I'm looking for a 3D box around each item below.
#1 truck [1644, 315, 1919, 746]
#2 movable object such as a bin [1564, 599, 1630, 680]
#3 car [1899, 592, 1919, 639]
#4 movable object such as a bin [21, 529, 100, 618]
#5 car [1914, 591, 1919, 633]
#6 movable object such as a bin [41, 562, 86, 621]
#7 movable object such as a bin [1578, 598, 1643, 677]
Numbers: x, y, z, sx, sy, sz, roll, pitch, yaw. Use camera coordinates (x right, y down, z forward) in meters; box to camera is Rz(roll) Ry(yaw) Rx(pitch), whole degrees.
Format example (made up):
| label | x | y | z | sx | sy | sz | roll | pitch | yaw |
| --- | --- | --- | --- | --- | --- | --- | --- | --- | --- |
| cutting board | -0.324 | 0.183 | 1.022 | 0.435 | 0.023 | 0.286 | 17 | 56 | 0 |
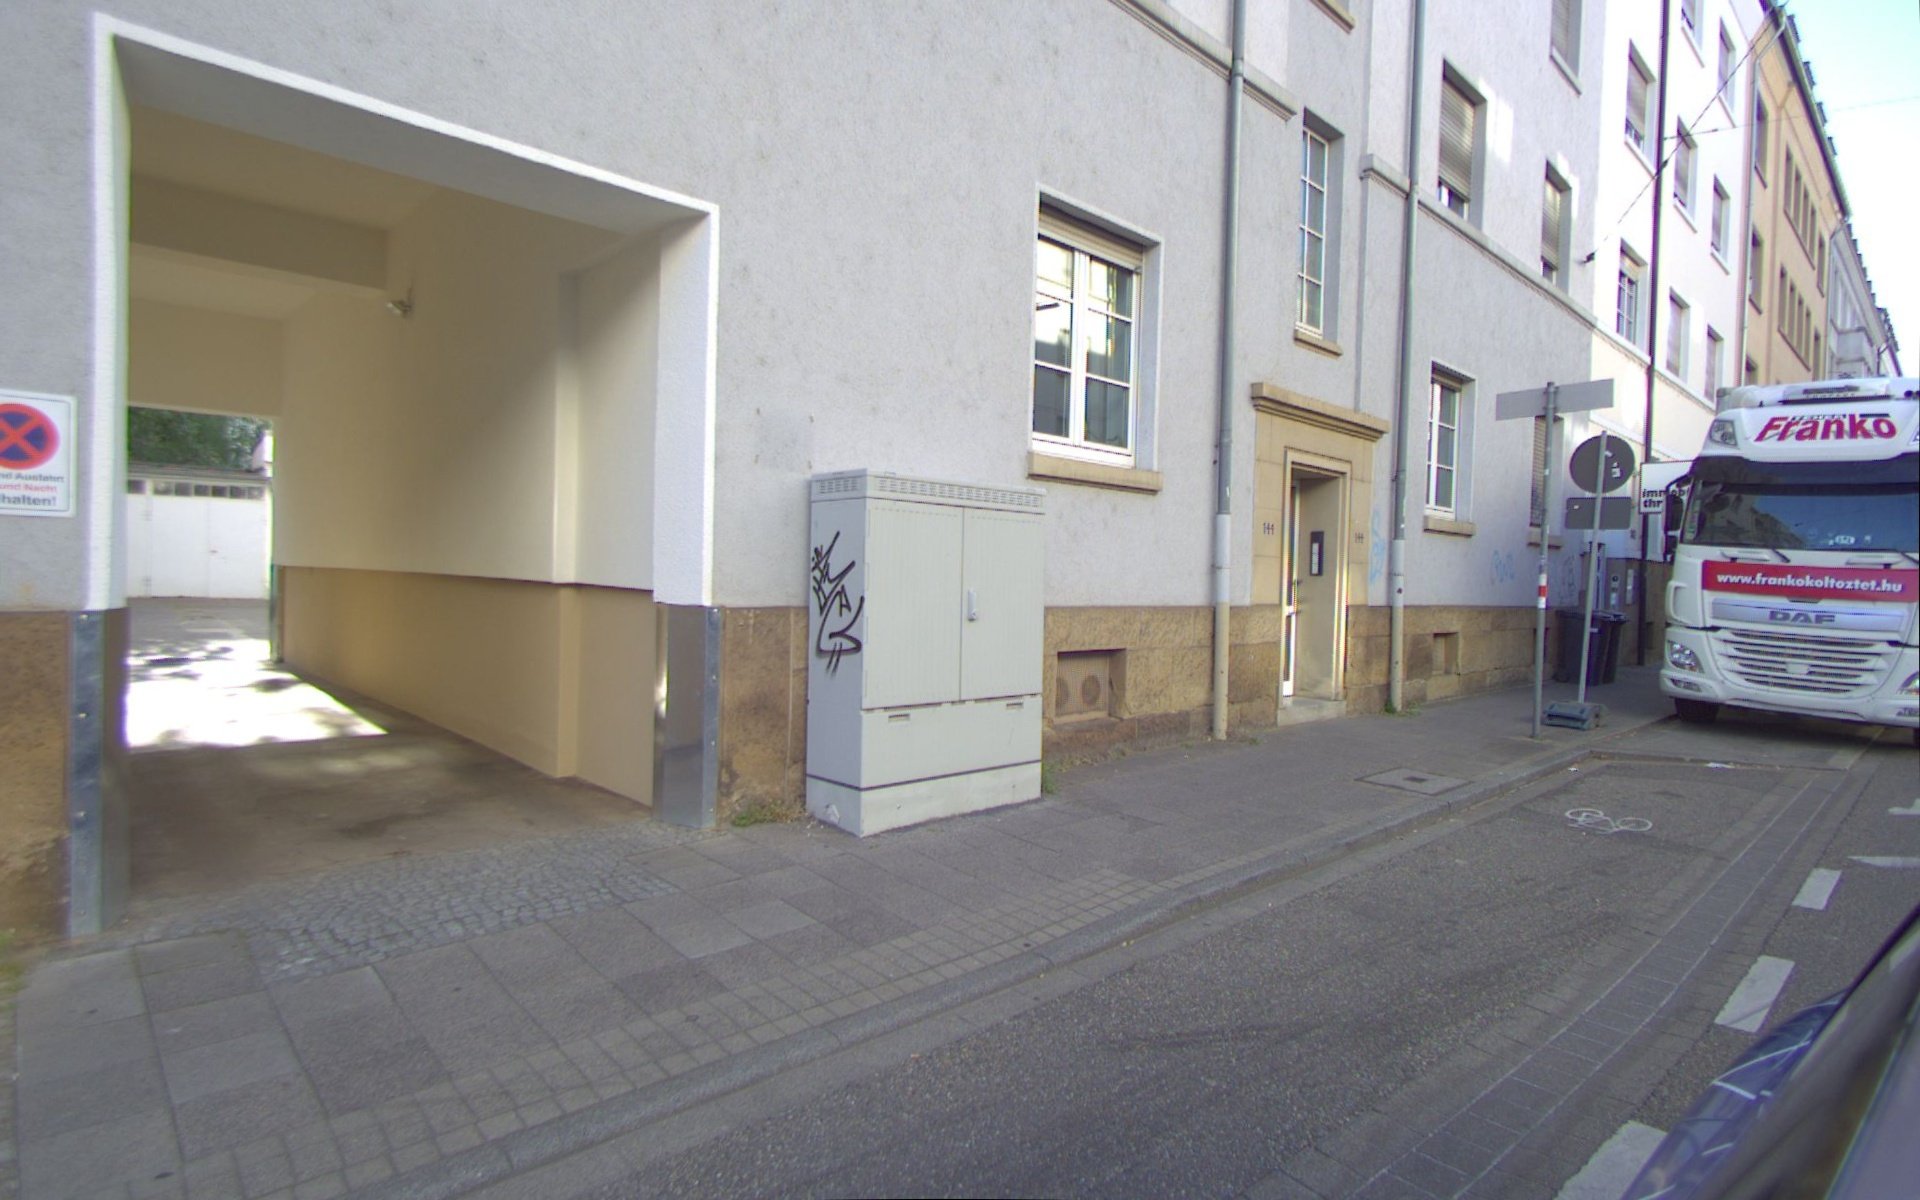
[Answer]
| label | x | y | z | sx | sy | sz | roll | pitch | yaw |
| --- | --- | --- | --- | --- | --- | --- | --- | --- | --- |
| truck | 12.589 | -0.680 | 13.887 | 11.621 | 3.975 | 2.778 | 0 | 2 | -44 |
| movable object such as a bin | 9.185 | 0.550 | 14.594 | 0.560 | 1.107 | 0.665 | 0 | 2 | -43 |
| car | 33.520 | 0.528 | 34.738 | 4.080 | 1.551 | 1.681 | 0 | 0 | -44 |
| movable object such as a bin | -15.140 | -0.452 | 17.025 | 0.946 | 1.426 | 1.597 | 0 | 2 | -43 |
| car | 37.690 | 0.460 | 38.636 | 4.080 | 1.551 | 1.681 | 0 | 0 | -44 |
| movable object such as a bin | -14.363 | -0.146 | 16.206 | 0.518 | 0.922 | 0.580 | 0 | 2 | -43 |
| movable object such as a bin | 9.664 | 0.542 | 15.045 | 0.560 | 1.107 | 0.665 | 0 | 2 | -43 |
